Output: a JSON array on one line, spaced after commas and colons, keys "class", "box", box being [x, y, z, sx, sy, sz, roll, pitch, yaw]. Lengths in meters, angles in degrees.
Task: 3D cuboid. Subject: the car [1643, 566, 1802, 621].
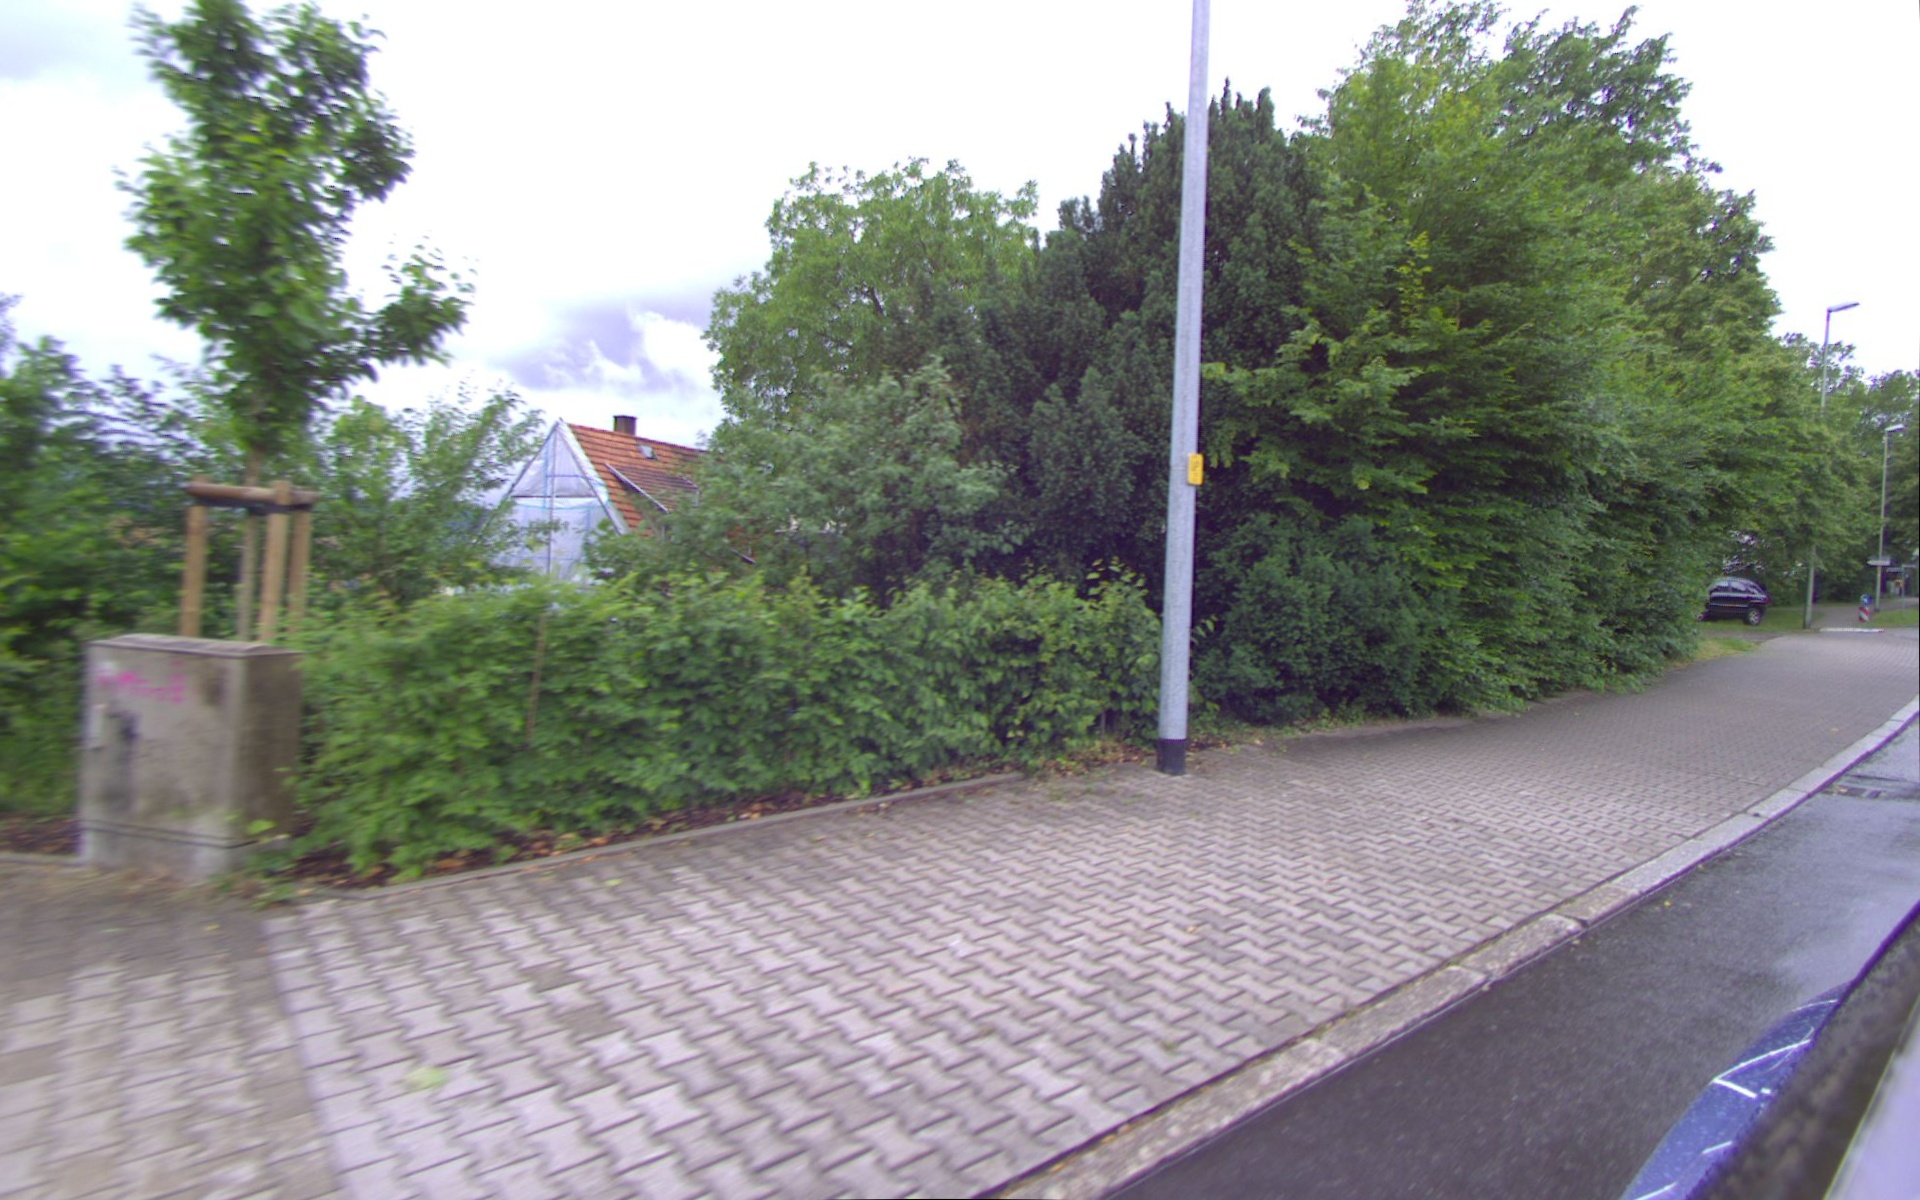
[{"class": "car", "box": [27.536, -0.242, 36.581, 4.800, 1.711, 1.958, 3, 0, -15]}]
